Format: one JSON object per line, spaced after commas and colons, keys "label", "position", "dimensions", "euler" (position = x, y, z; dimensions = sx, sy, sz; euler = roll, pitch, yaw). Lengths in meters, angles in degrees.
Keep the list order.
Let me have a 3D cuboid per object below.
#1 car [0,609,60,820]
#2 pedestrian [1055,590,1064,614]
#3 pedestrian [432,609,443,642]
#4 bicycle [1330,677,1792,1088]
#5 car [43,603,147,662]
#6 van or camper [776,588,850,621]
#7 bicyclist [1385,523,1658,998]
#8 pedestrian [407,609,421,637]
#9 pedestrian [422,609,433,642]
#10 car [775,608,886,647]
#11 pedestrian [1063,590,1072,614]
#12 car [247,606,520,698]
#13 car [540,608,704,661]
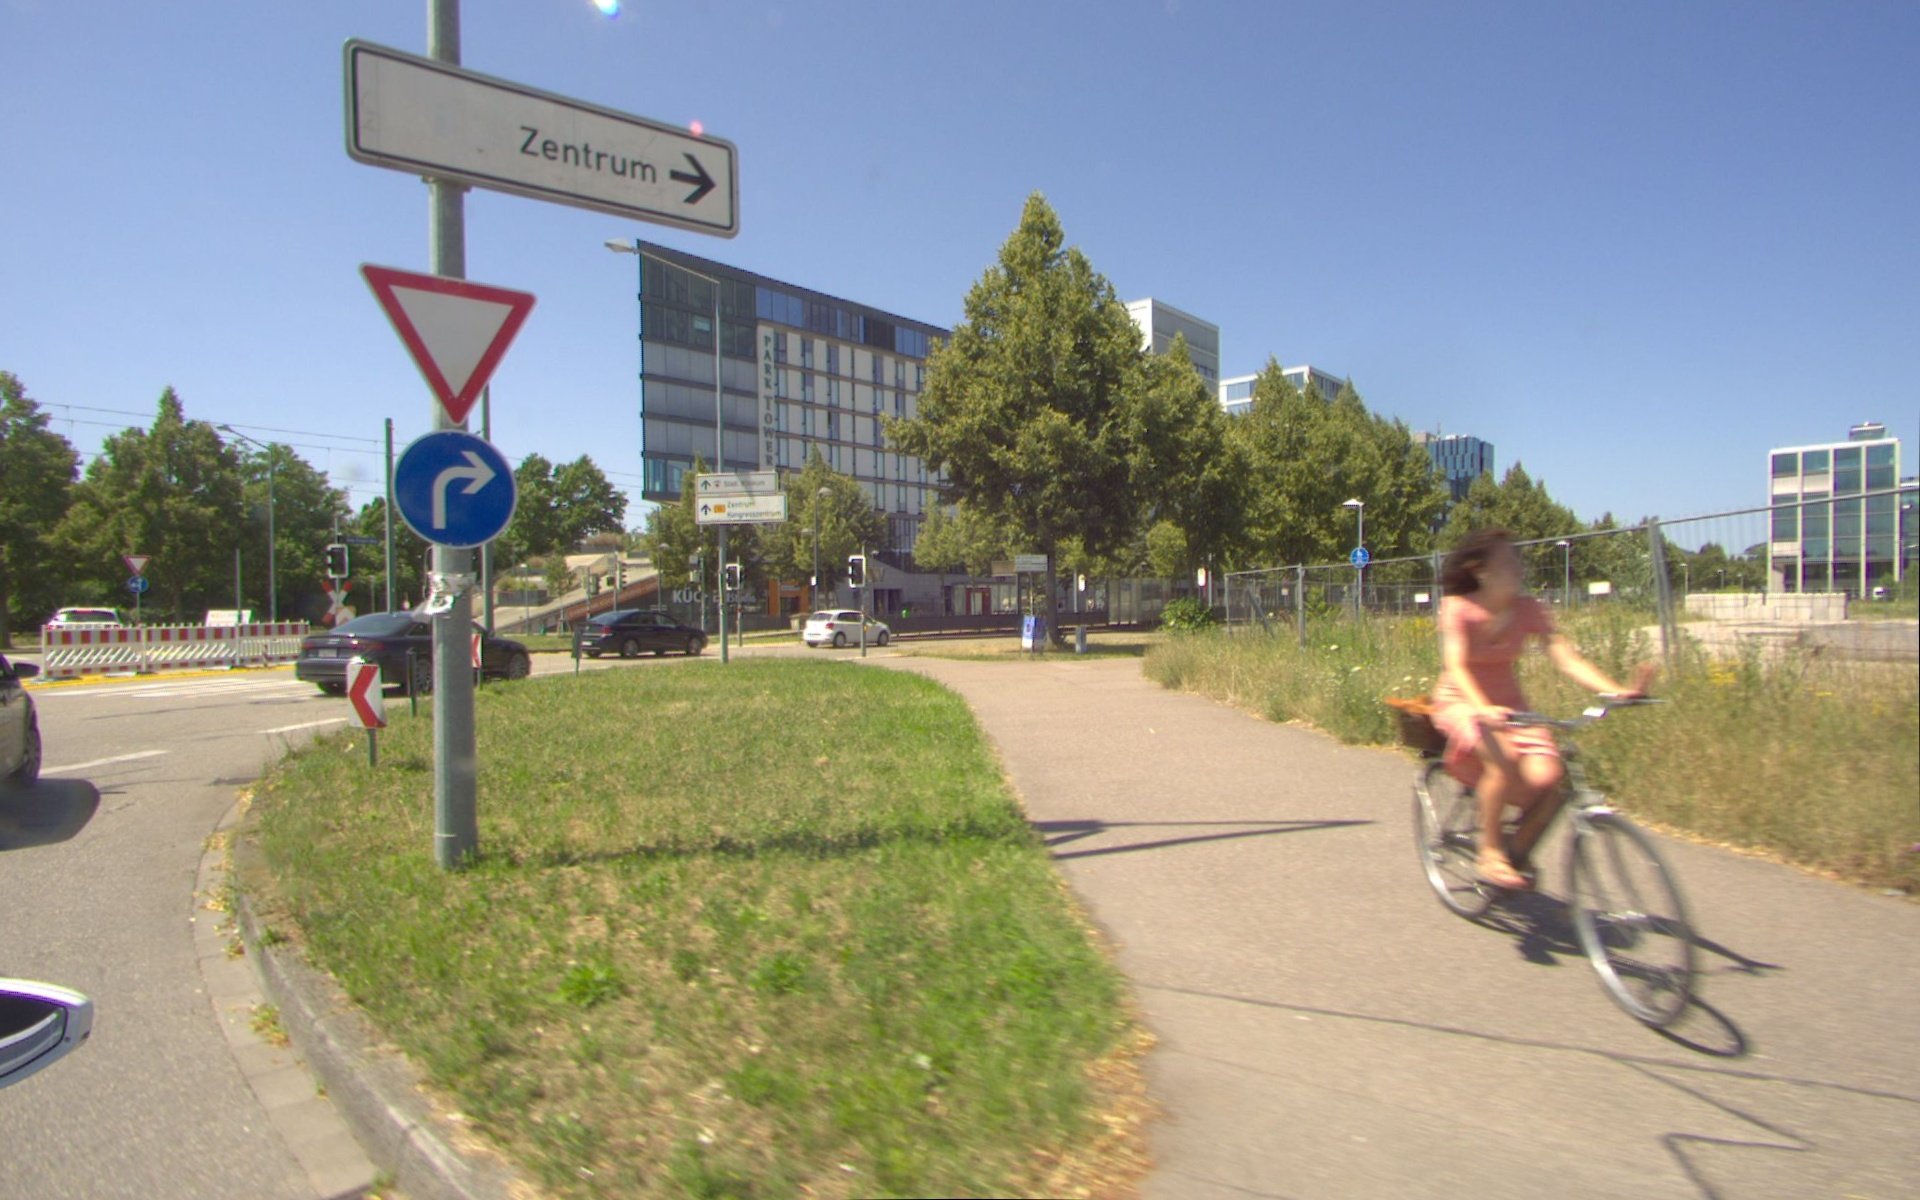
{"label": "car", "position": [-7.808, 0.800, 7.166], "dimensions": [1.604, 1.470, 3.958], "euler": [1, -1, -36]}
{"label": "pedestrian", "position": [7.324, 0.143, 73.424], "dimensions": [0.406, 1.775, 0.581], "euler": [0, 1, 39]}
{"label": "pedestrian", "position": [-27.824, 1.364, 53.291], "dimensions": [0.314, 1.762, 0.445], "euler": [0, 1, 41]}
{"label": "bicycle", "position": [2.182, 0.920, 4.027], "dimensions": [0.431, 1.072, 2.088], "euler": [-1, 0, -5]}
{"label": "car", "position": [-24.489, 0.869, 28.495], "dimensions": [1.976, 1.506, 4.332], "euler": [-1, 0, -38]}
{"label": "van or camper", "position": [-13.157, 0.378, 90.143], "dimensions": [2.354, 2.859, 6.735], "euler": [0, 0, 40]}
{"label": "bicyclist", "position": [2.170, 0.575, 3.948], "dimensions": [0.633, 1.686, 0.710], "euler": [-1, 0, -4]}
{"label": "pedestrian", "position": [-28.270, 1.196, 51.834], "dimensions": [0.348, 1.448, 0.518], "euler": [0, 1, 39]}
{"label": "pedestrian", "position": [-28.138, 1.354, 52.916], "dimensions": [0.288, 1.762, 0.445], "euler": [0, 1, 41]}
{"label": "car", "position": [-5.002, 1.063, 39.218], "dimensions": [1.833, 1.467, 4.323], "euler": [-1, -1, 37]}
{"label": "pedestrian", "position": [7.912, 0.135, 73.893], "dimensions": [0.406, 1.775, 0.581], "euler": [0, 1, 39]}
{"label": "car", "position": [-10.239, 0.866, 18.316], "dimensions": [1.961, 1.467, 4.650], "euler": [0, -1, 6]}
{"label": "car", "position": [-10.210, 1.026, 30.653], "dimensions": [1.969, 1.467, 4.741], "euler": [0, -1, 28]}
